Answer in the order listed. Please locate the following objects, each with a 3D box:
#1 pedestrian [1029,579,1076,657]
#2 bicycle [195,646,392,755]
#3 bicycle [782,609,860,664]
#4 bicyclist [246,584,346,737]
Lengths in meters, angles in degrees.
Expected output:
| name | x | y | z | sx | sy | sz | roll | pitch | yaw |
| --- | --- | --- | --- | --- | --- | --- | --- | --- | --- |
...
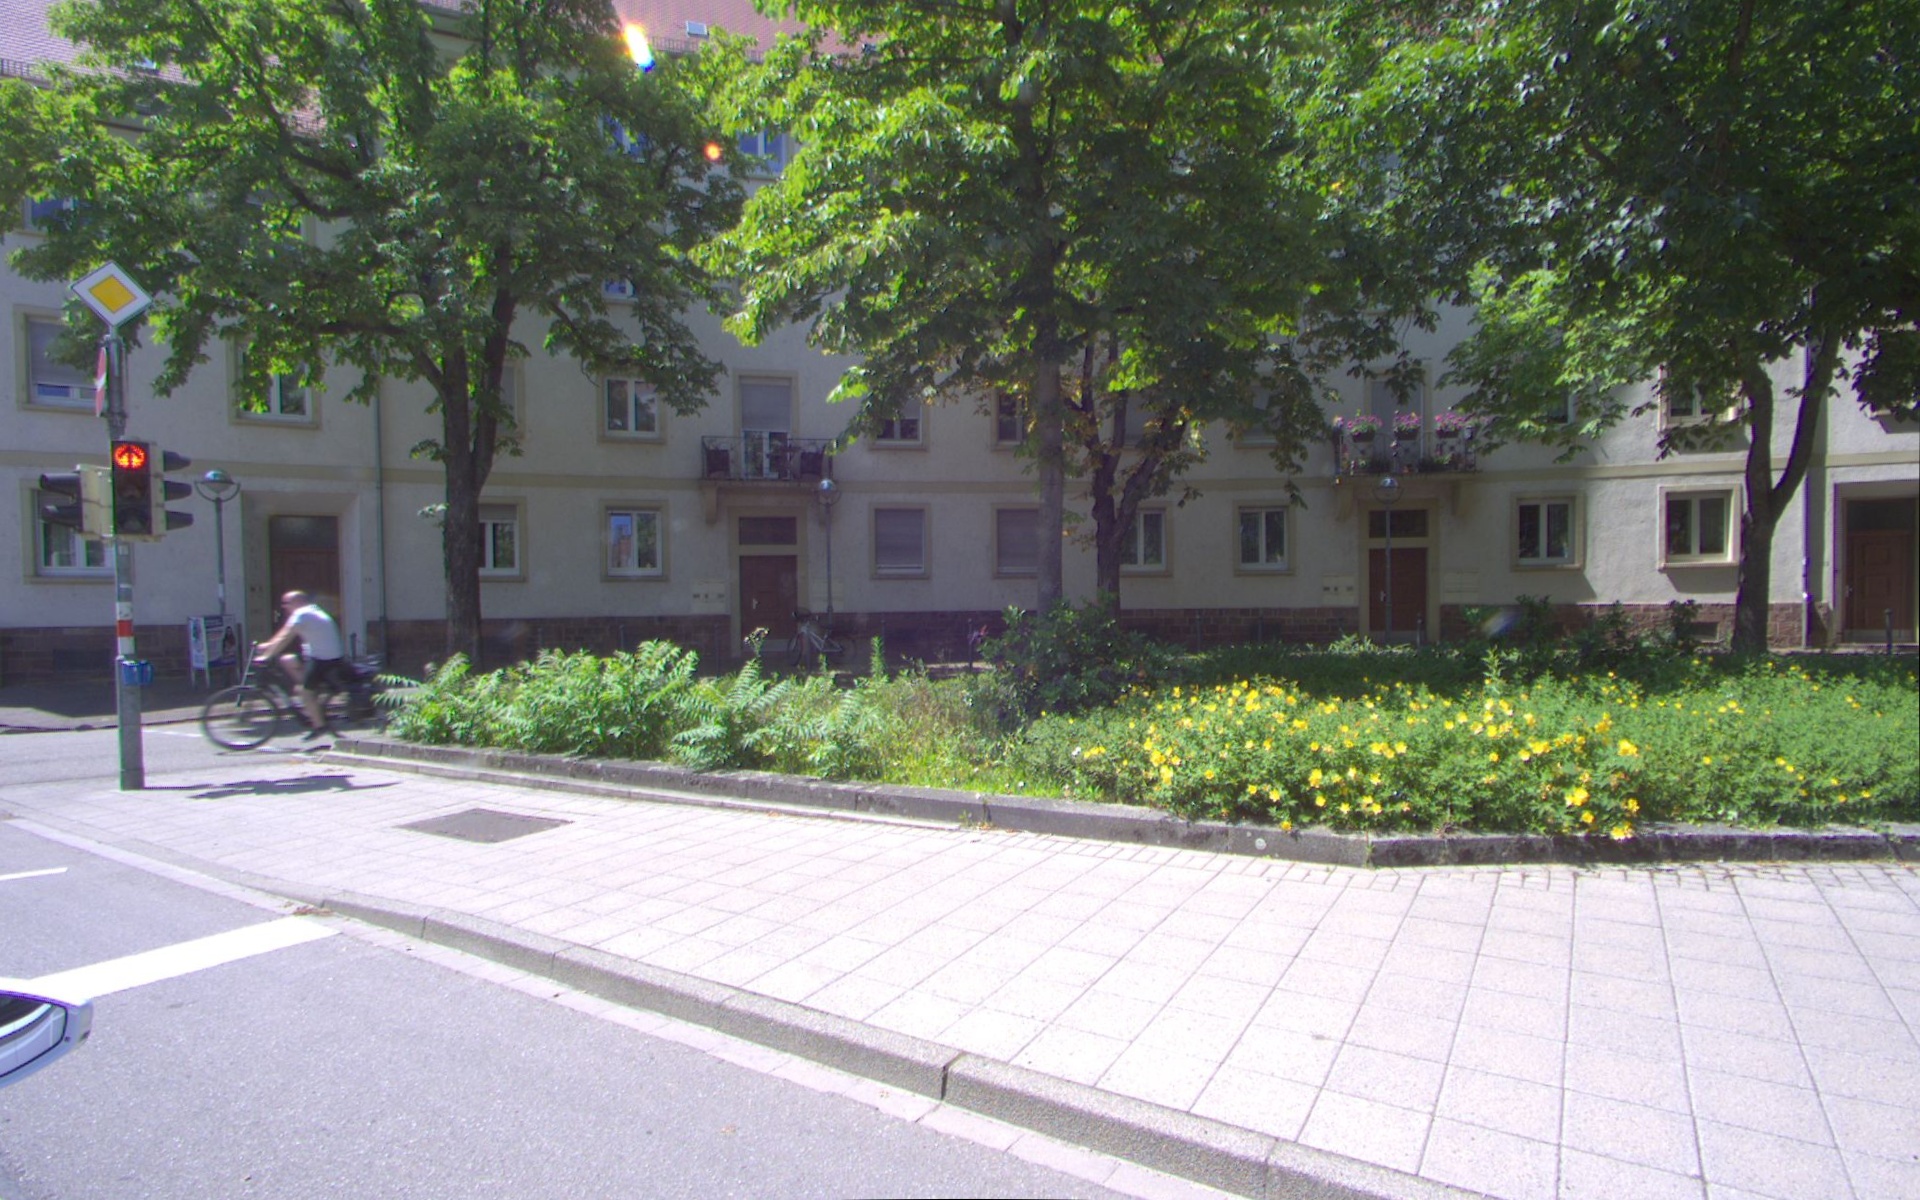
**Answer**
| name | x | y | z | sx | sy | sz | roll | pitch | yaw |
| --- | --- | --- | --- | --- | --- | --- | --- | --- | --- |
| pedestrian | 2.116 | 0.394 | 22.867 | 1.037 | 1.715 | 0.652 | 0 | 6 | 6 |
| bicycle | -7.305 | 1.072 | 11.078 | 1.740 | 1.070 | 0.697 | 0 | 0 | -28 |
| bicycle | -2.883 | 0.751 | 20.873 | 1.575 | 1.119 | 0.525 | -1 | 1 | -4 |
| bicyclist | -7.316 | 0.645 | 11.068 | 0.837 | 1.613 | 0.697 | -1 | 0 | -28 |
